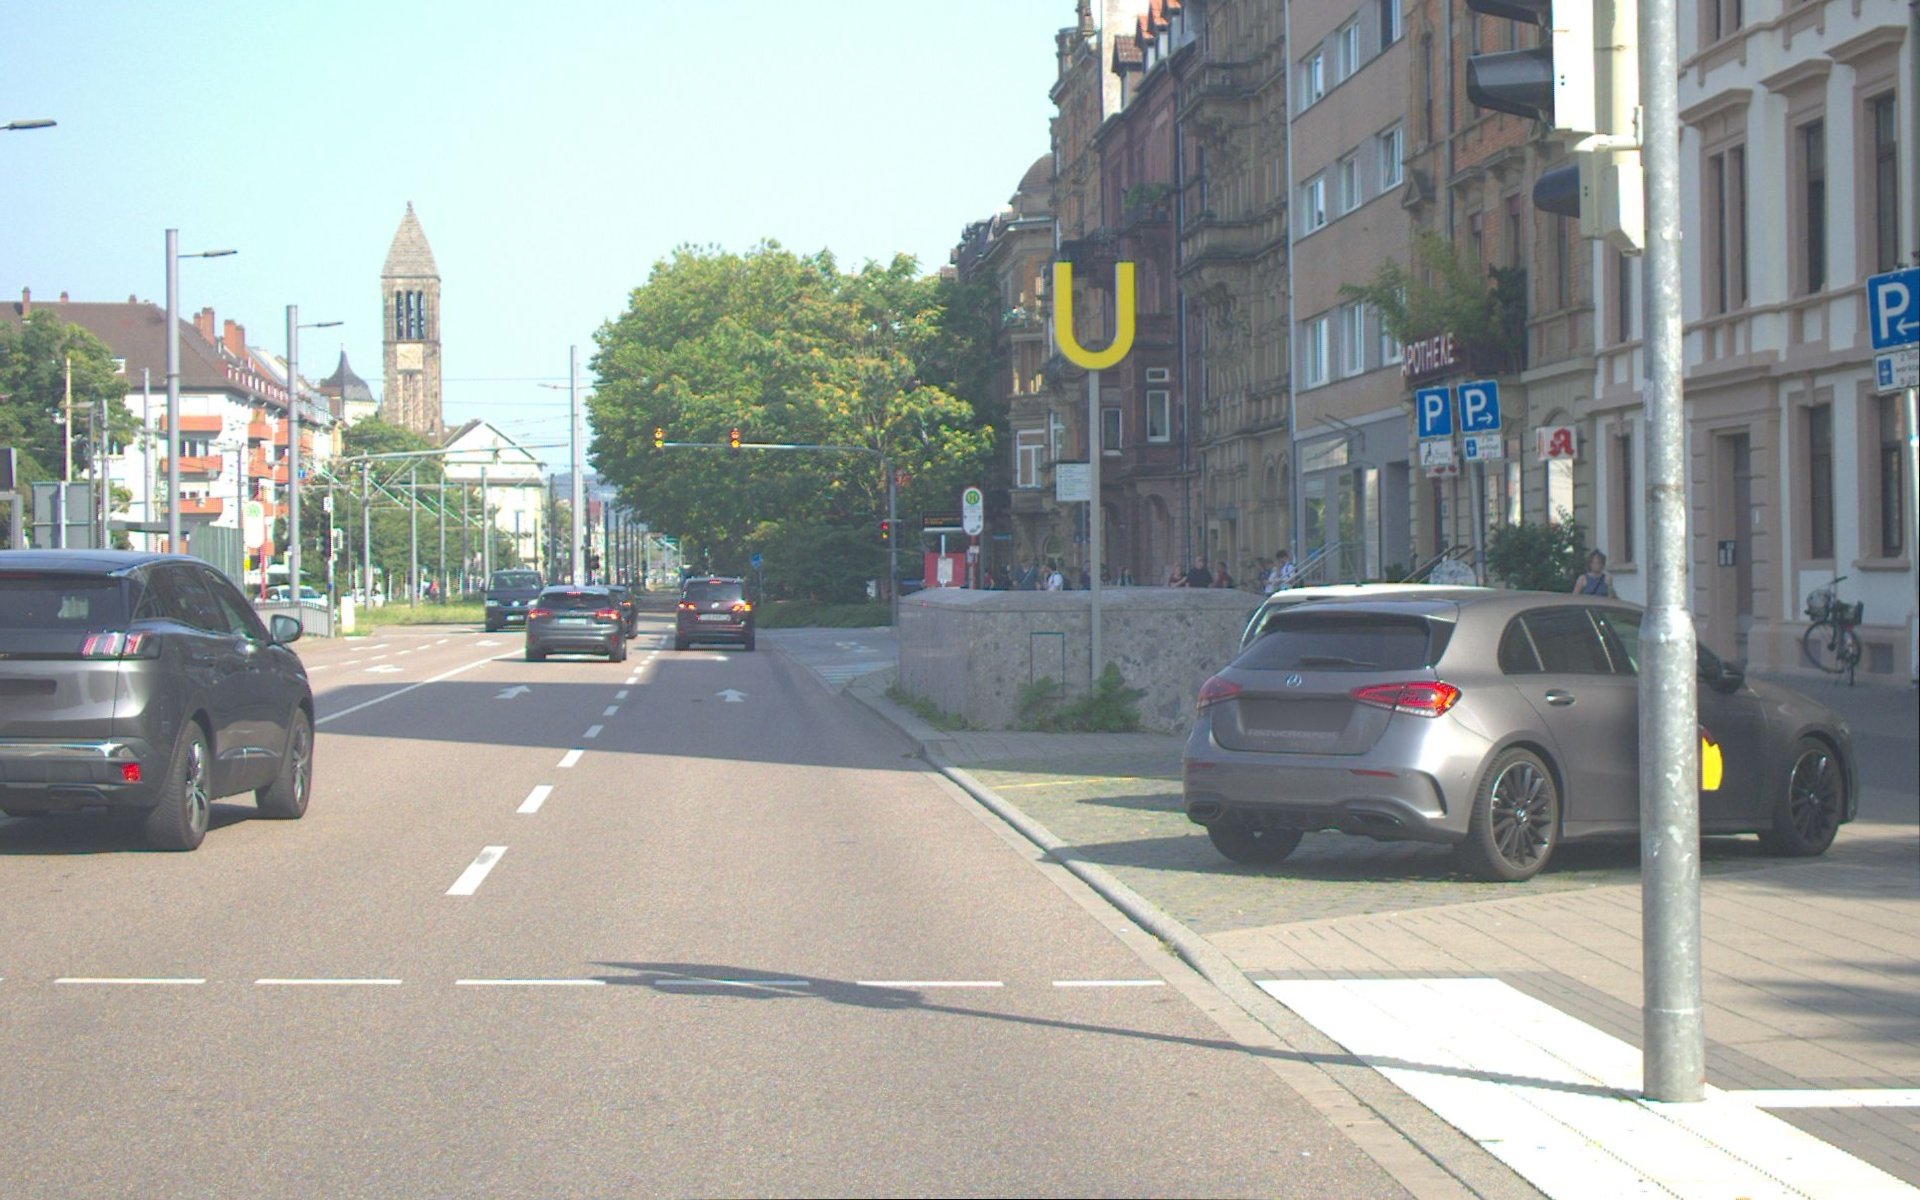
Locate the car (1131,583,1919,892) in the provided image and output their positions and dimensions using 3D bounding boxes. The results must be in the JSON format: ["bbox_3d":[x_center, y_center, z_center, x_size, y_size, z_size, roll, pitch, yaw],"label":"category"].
[{"bbox_3d":[3.101,0.630,18.100,4.397,1.418,1.847,0,0,-43],"label":"car"}]

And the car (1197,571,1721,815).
[{"bbox_3d":[3.313,0.548,22.461,1.622,1.459,3.519,0,0,44],"label":"car"}]

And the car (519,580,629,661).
[{"bbox_3d":[-7.298,0.363,65.336,1.864,1.419,4.357,1,1,-4],"label":"car"}]

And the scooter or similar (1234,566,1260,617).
[{"bbox_3d":[6.632,-0.205,79.495,0.360,1.159,1.152,-1,1,-7],"label":"scooter or similar"}]

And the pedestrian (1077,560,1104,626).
[{"bbox_3d":[3.557,-0.190,93.524,0.617,1.798,1.071,-1,0,-3],"label":"pedestrian"}]

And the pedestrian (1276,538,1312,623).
[{"bbox_3d":[7.263,-0.425,74.719,0.603,1.825,0.742,-1,1,-7],"label":"pedestrian"}]

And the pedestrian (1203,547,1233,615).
[{"bbox_3d":[6.330,-0.476,84.446,0.603,1.649,0.587,-1,1,-7],"label":"pedestrian"}]

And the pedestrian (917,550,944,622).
[{"bbox_3d":[-0.710,-0.339,82.974,0.564,1.723,0.745,-1,1,-7],"label":"pedestrian"}]

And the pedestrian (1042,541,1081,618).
[{"bbox_3d":[2.267,-0.459,77.041,0.749,1.723,0.801,-1,1,-7],"label":"pedestrian"}]

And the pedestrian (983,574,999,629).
[{"bbox_3d":[0.715,0.037,80.079,0.275,1.270,0.448,-1,1,-11],"label":"pedestrian"}]

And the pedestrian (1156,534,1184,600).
[{"bbox_3d":[5.474,-0.865,89.518,0.629,1.713,0.691,-1,1,-4],"label":"pedestrian"}]

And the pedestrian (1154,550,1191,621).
[{"bbox_3d":[4.826,-0.336,78.105,0.720,1.605,0.856,-1,0,-3],"label":"pedestrian"}]

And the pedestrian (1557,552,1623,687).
[{"bbox_3d":[7.631,0.231,41.688,0.608,1.623,0.737,-1,0,-4],"label":"pedestrian"}]

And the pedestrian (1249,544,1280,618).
[{"bbox_3d":[7.155,-0.444,80.780,0.603,1.725,0.511,-1,1,-7],"label":"pedestrian"}]

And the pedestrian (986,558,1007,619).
[{"bbox_3d":[1.040,-0.328,97.037,0.481,1.696,0.703,-1,1,-7],"label":"pedestrian"}]

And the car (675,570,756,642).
[{"bbox_3d":[-5.740,0.115,80.825,1.831,1.615,4.357,1,1,-4],"label":"car"}]

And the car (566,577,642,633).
[{"bbox_3d":[-9.696,0.122,93.834,1.864,1.419,4.357,1,1,-4],"label":"car"}]

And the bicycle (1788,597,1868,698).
[{"bbox_3d":[10.122,0.539,40.127,0.383,1.130,1.720,-1,1,-4],"label":"bicycle"}]

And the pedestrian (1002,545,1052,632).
[{"bbox_3d":[1.431,-0.252,73.527,0.925,1.825,0.801,-1,1,-7],"label":"pedestrian"}]

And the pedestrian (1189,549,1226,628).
[{"bbox_3d":[5.618,-0.255,78.176,0.720,1.781,0.856,-1,0,-3],"label":"pedestrian"}]

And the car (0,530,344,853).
[{"bbox_3d":[-4.944,0.437,19.471,1.993,1.615,4.357,-1,1,2],"label":"car"}]

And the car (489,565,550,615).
[{"bbox_3d":[-13.944,-0.329,108.971,1.740,1.521,3.874,-1,1,-5],"label":"car"}]

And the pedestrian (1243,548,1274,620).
[{"bbox_3d":[7.090,-0.378,81.578,0.603,1.686,0.587,-1,1,-7],"label":"pedestrian"}]

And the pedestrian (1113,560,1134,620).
[{"bbox_3d":[4.455,-0.279,93.504,0.486,1.605,0.813,-1,0,-3],"label":"pedestrian"}]
